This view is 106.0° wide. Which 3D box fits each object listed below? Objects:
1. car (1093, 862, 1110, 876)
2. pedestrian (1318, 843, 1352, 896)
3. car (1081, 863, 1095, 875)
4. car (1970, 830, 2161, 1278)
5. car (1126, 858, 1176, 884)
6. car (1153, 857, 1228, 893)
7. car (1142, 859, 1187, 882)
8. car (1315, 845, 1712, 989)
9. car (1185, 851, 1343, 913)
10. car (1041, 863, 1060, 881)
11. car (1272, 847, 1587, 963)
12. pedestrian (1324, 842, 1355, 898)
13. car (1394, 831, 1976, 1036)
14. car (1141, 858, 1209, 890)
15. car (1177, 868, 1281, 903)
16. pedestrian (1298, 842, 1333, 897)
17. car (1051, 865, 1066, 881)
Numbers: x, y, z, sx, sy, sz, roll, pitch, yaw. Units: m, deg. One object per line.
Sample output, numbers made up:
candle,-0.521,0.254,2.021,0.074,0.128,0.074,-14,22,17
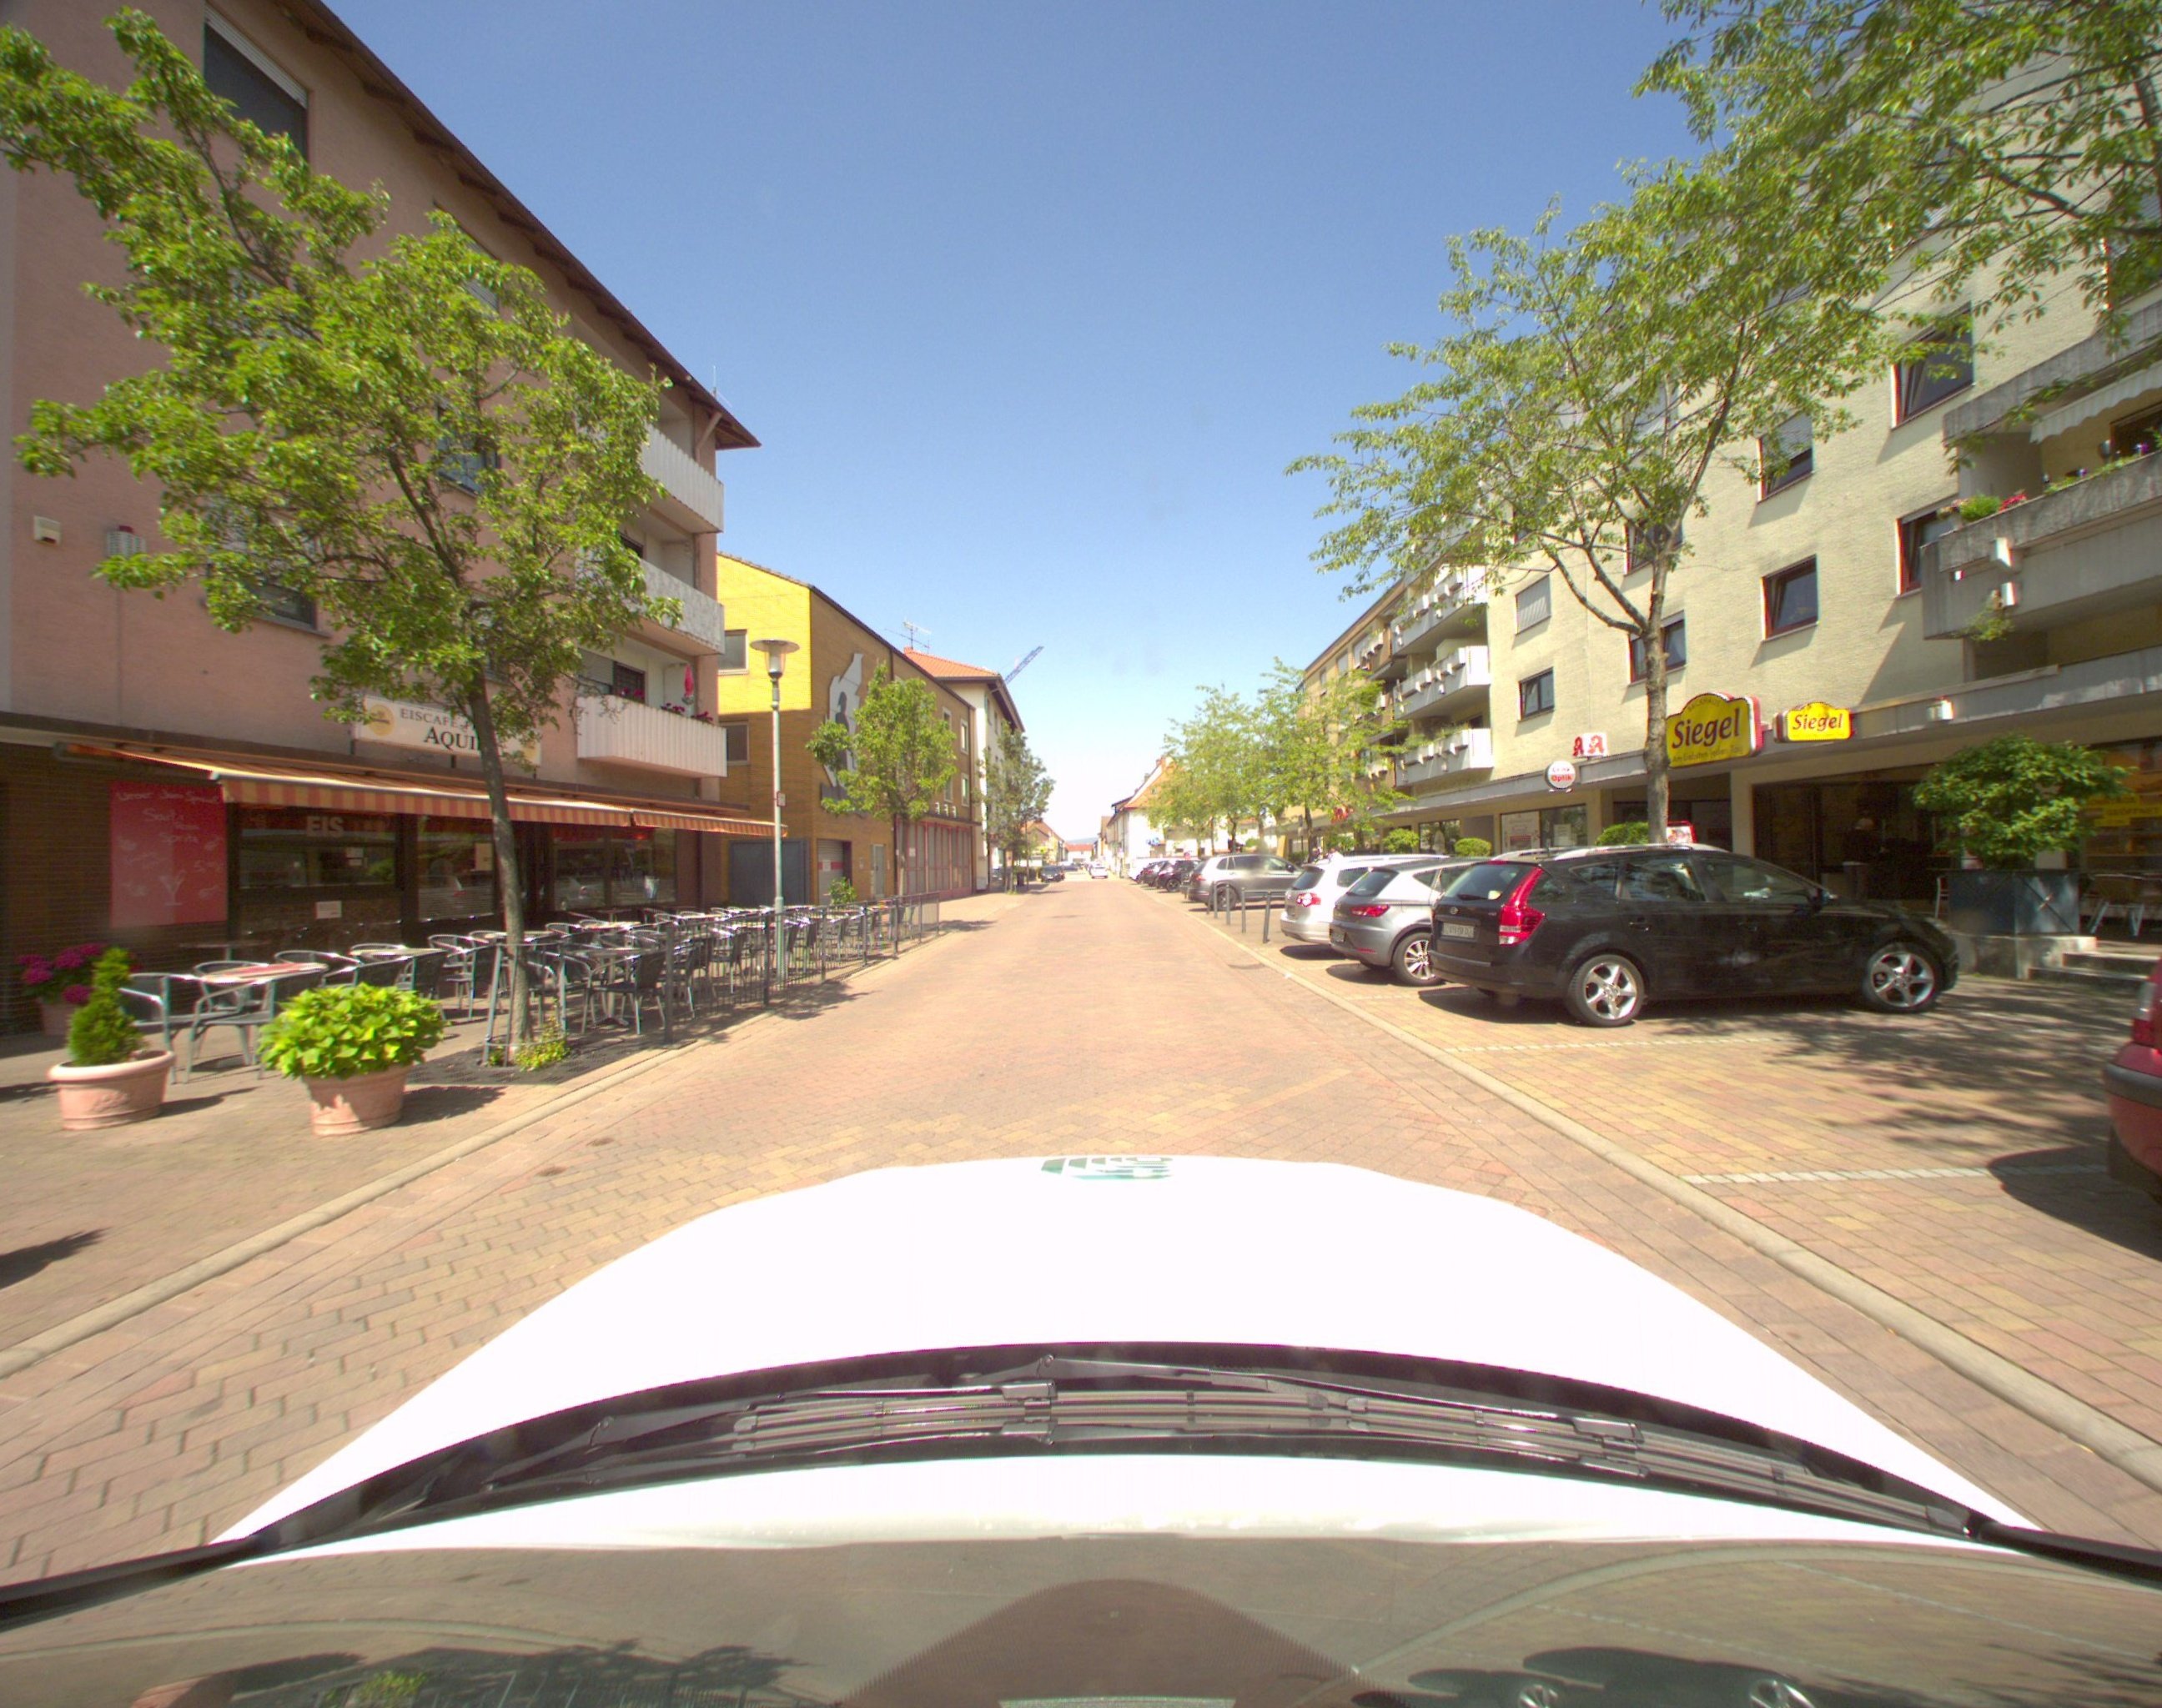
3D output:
car,2.371,1.760,95.104,1.825,1.532,3.946,-2,0,1
pedestrian,8.717,0.530,27.962,0.836,1.787,0.805,-2,0,-6
car,1.009,2.098,114.762,1.740,1.481,3.630,-2,0,2
car,5.562,0.606,2.485,3.711,1.534,1.765,-3,0,0
car,5.217,1.280,61.164,3.472,1.700,1.533,-3,-1,-5
car,5.481,1.059,41.012,3.511,1.655,1.710,-2,-1,-1
car,6.552,1.317,64.230,3.337,1.715,1.470,-2,-1,-1
car,5.044,0.725,9.980,3.918,1.489,1.718,-2,-1,6
car,5.280,0.790,23.819,4.231,1.615,1.558,-2,-1,-1
car,-2.820,1.664,76.291,1.502,1.500,3.828,-2,0,1
car,5.228,0.737,12.646,4.137,1.574,1.760,-2,0,2
pedestrian,8.341,0.506,26.316,0.831,1.787,0.809,-2,0,13
car,5.468,0.658,7.784,4.173,1.541,1.944,-2,-1,-3
car,5.122,1.113,44.776,3.511,1.625,1.710,-2,-1,-1
car,5.352,1.129,29.711,3.514,1.142,1.272,-2,-1,-4
pedestrian,7.869,0.514,27.370,0.836,1.787,0.805,-2,0,-6
car,-2.418,2.042,88.241,1.502,1.500,3.828,-2,0,1
